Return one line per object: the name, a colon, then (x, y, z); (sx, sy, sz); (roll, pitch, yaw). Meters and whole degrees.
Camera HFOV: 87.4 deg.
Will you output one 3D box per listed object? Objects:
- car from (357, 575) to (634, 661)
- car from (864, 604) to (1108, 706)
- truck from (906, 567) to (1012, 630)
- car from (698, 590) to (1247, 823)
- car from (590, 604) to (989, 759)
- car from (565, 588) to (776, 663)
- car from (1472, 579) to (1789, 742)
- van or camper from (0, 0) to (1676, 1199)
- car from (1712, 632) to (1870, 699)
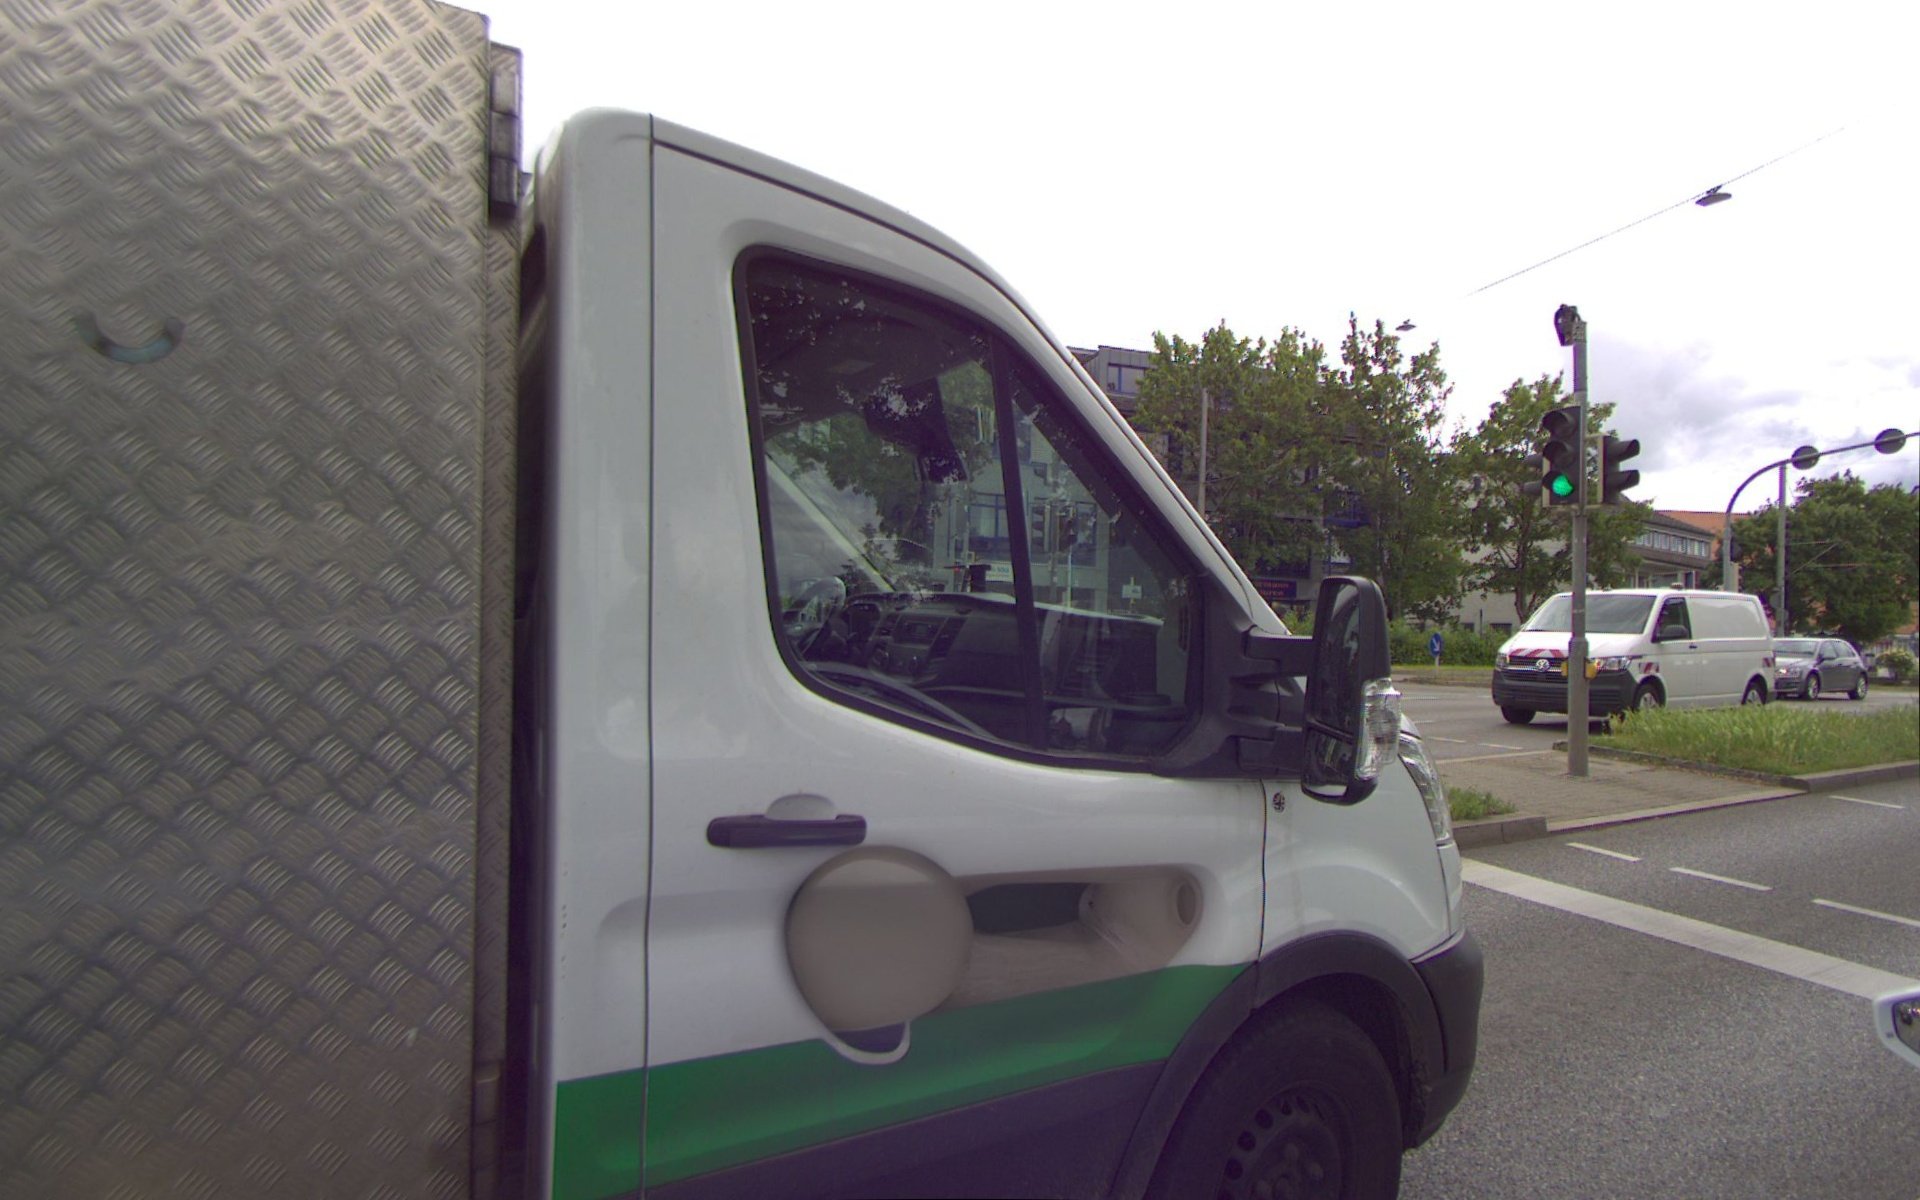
car: (-8.455, 0.322, 18.669); (4.362, 1.483, 1.778); (0, 1, -11)
car: (0.499, 0.883, 16.977); (3.919, 1.565, 1.783); (1, -1, 7)
truck: (-0.063, -0.081, 40.126); (3.929, 2.419, 1.996); (0, 1, -11)
car: (0.234, 0.734, 8.476); (4.434, 1.501, 1.767); (1, -2, -34)
car: (-1.817, 0.772, 10.804); (3.899, 1.397, 1.778); (1, 0, -27)
car: (-6.401, 0.558, 22.643); (4.362, 1.483, 1.778); (2, 1, -11)
car: (9.728, 0.782, 14.491); (4.798, 2.029, 1.828); (1, 0, -29)
van or camper: (-1.286, 0.130, 1.964); (5.901, 2.697, 2.330); (2, 0, -33)
car: (19.685, 1.528, 23.760); (3.956, 1.483, 1.735); (2, -3, -32)
